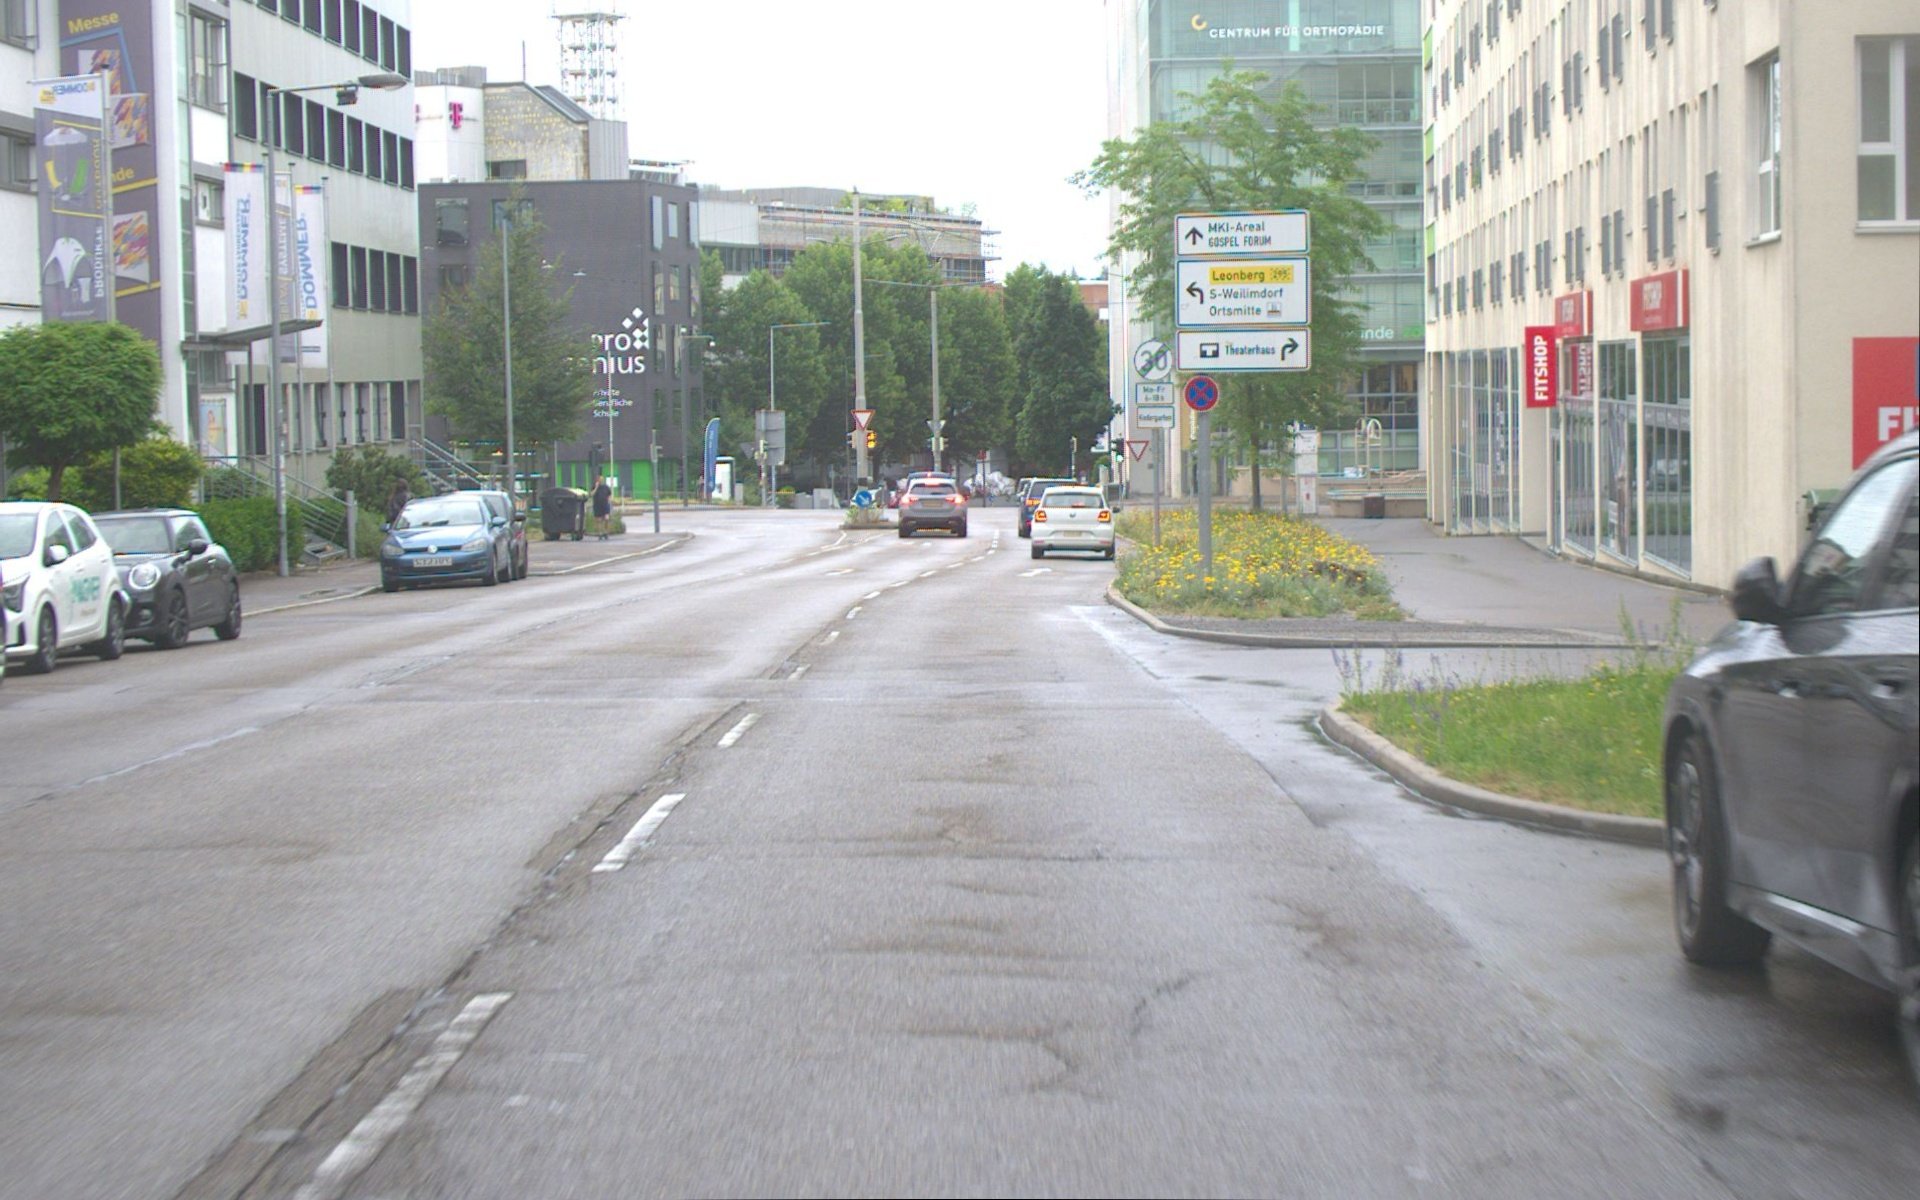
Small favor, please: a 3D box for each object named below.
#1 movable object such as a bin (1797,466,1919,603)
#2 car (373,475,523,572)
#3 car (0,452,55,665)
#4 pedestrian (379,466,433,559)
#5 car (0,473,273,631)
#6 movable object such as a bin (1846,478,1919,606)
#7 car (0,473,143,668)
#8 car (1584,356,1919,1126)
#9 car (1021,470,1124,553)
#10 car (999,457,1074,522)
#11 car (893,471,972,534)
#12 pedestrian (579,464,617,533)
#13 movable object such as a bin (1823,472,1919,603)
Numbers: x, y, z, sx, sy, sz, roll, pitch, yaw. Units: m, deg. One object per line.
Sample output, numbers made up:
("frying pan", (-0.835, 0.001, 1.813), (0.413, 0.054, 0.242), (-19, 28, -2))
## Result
("movable object such as a bin", (10.084, -0.739, 38.547), (1.174, 1.498, 1.014), (-1, 2, 3))
("car", (-8.116, -1.233, 54.832), (1.913, 1.476, 4.357), (0, 2, -3))
("car", (-8.300, -0.245, 25.276), (2.077, 1.603, 4.686), (-2, 3, -1))
("pedestrian", (-10.398, -1.636, 64.492), (0.728, 1.702, 0.903), (-2, 1, -27))
("car", (-8.425, -0.515, 35.243), (1.797, 1.511, 4.246), (0, 2, 2))
("movable object such as a bin", (10.142, -0.630, 36.375), (1.235, 1.315, 1.192), (-1, 1, 2))
("car", (-8.618, -0.308, 30.519), (1.773, 1.595, 4.032), (-1, 2, 0))
("car", (2.982, 0.223, 9.026), (1.807, 1.673, 4.713), (0, 3, 0))
("car", (2.259, -1.806, 69.331), (1.993, 1.571, 3.996), (-1, 3, 2))
("car", (2.092, -3.077, 95.077), (1.993, 1.743, 3.673), (-1, 2, 0))
("car", (-0.755, -2.720, 96.100), (2.141, 1.722, 4.000), (0, 2, 0))
("pedestrian", (-10.177, -2.852, 96.589), (0.959, 1.948, 0.779), (-1, 1, -12))
("movable object such as a bin", (10.054, -0.690, 37.526), (1.021, 1.397, 1.057), (-1, 2, 3))
